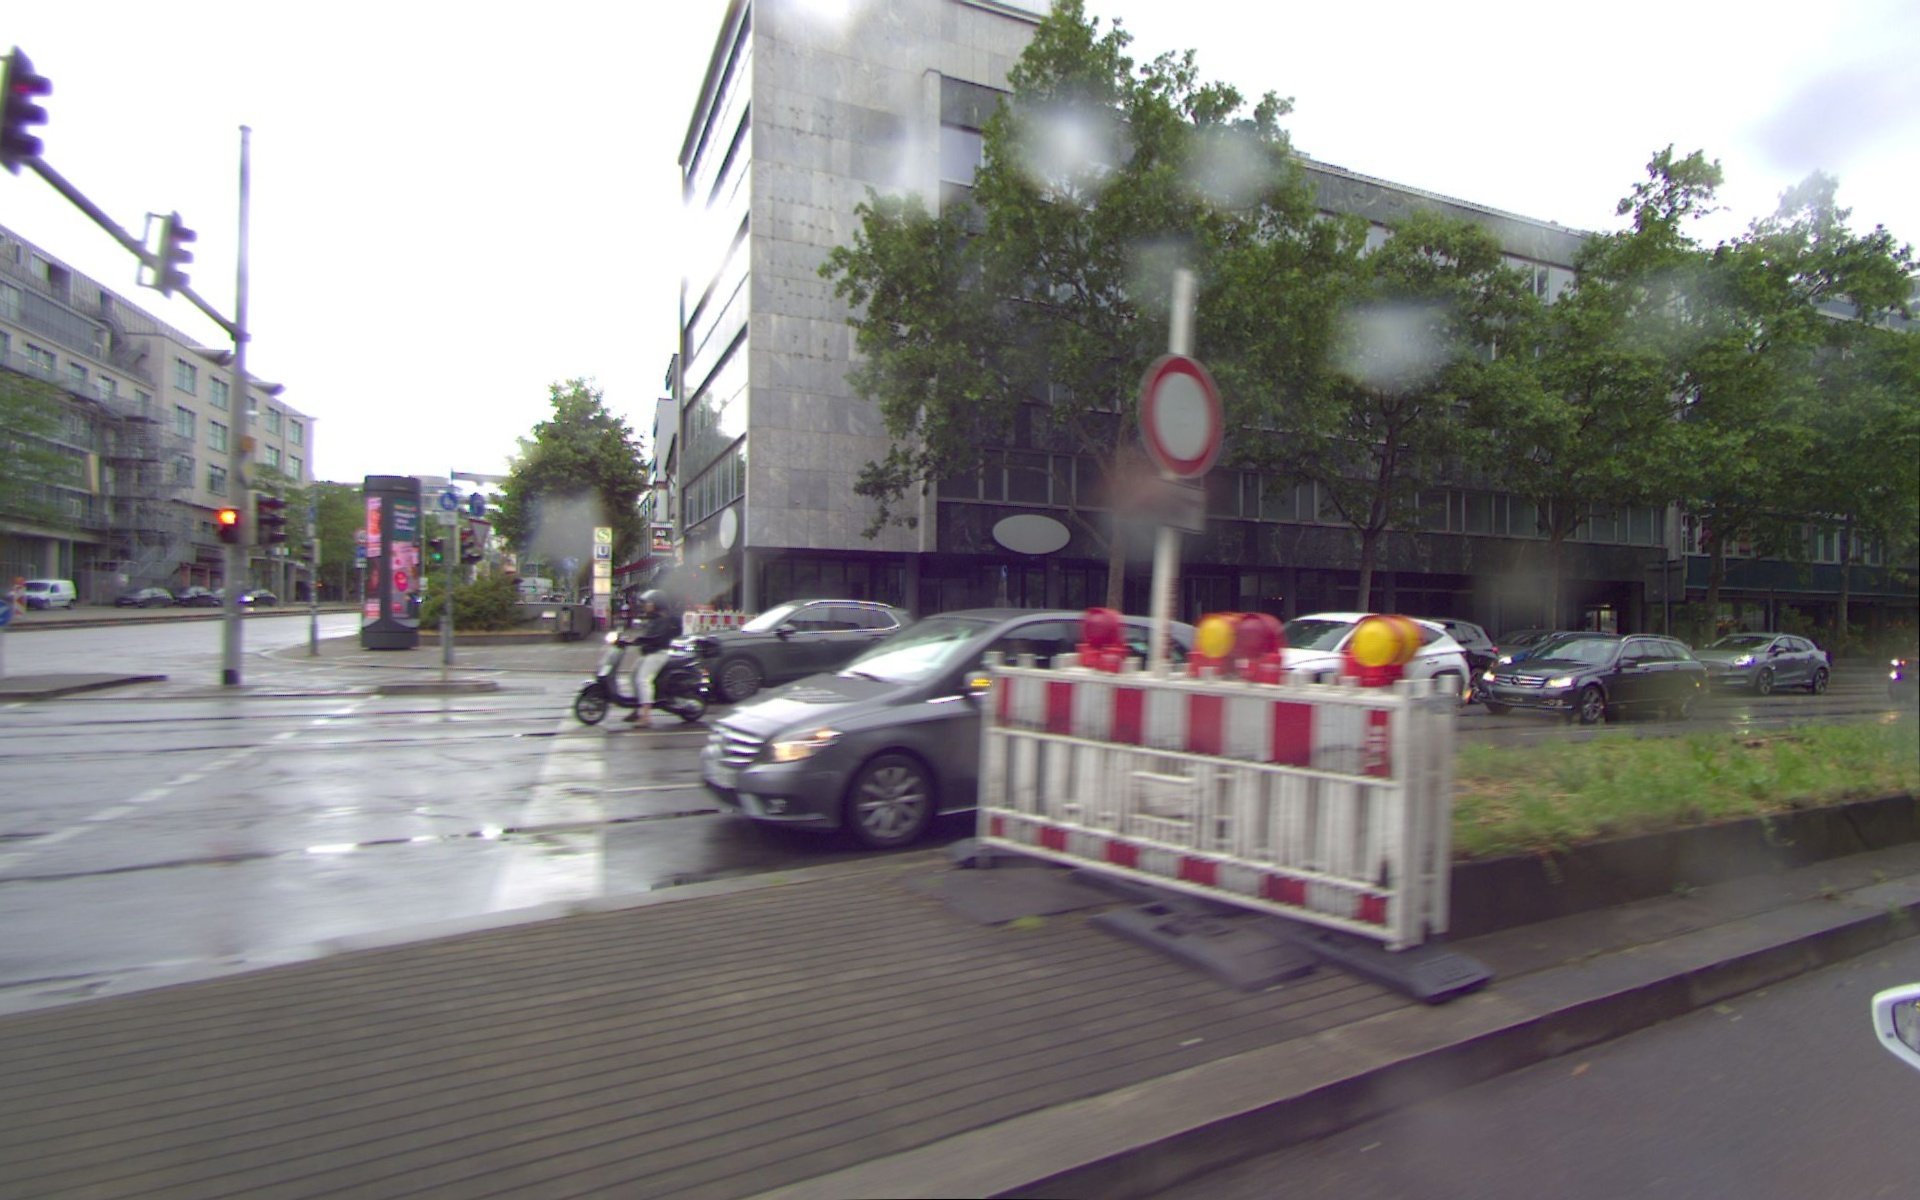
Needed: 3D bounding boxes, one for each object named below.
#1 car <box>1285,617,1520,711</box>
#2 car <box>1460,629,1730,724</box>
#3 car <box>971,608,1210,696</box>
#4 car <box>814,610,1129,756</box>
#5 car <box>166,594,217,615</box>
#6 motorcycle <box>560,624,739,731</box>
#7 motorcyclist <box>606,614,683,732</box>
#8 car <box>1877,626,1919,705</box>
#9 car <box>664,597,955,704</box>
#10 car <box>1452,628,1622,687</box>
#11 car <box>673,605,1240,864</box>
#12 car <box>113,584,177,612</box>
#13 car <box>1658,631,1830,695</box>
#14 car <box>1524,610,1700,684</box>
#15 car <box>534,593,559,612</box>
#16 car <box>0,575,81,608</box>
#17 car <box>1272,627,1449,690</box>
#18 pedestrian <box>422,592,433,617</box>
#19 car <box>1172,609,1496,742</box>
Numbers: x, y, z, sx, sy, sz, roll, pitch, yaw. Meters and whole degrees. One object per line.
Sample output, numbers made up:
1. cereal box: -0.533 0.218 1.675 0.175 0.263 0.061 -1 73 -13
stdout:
1. car: 8.750 1.212 19.838 4.352 1.687 1.838 1 -1 -25
2. car: 11.326 1.293 17.854 4.852 1.470 1.837 1 -1 -27
3. car: 2.693 1.044 20.544 4.531 1.625 1.985 2 -1 -29
4. car: 0.177 0.901 11.986 3.395 1.495 1.707 2 -1 -33
5. car: -58.899 0.355 77.055 1.731 1.530 4.319 1 0 -18
6. motorcycle: -3.890 0.952 12.660 2.022 1.244 0.714 2 -1 -34
7. motorcyclist: -3.964 0.887 12.608 0.725 1.410 0.782 1 0 -33
8. car: 24.375 1.565 24.102 5.042 1.790 1.829 1 -1 -26
9. car: -2.534 0.845 17.238 4.605 1.639 1.750 2 -1 -29
10. car: 15.803 1.546 27.475 4.529 1.466 1.884 2 -1 -27
11. car: 0.108 0.833 7.795 4.124 1.501 1.831 2 -1 -36
12. car: -56.072 -0.151 69.198 1.969 1.818 4.319 1 0 -18
13. car: 20.322 1.599 26.009 4.508 1.511 1.714 1 -1 -26
14. car: 15.283 1.096 23.509 3.949 1.586 1.746 2 -1 -28
15. car: -40.117 0.222 97.477 1.969 1.773 3.983 1 0 -18
16. car: -54.484 -0.485 59.570 1.969 1.818 4.319 1 0 -18
17. car: 9.824 1.413 24.619 3.929 1.405 1.985 2 -1 -29
18. pedestrian: -44.738 0.373 84.369 0.605 2.040 0.691 1 -1 -17
19. car: 5.619 1.037 14.945 4.739 1.707 1.869 1 -1 -28
